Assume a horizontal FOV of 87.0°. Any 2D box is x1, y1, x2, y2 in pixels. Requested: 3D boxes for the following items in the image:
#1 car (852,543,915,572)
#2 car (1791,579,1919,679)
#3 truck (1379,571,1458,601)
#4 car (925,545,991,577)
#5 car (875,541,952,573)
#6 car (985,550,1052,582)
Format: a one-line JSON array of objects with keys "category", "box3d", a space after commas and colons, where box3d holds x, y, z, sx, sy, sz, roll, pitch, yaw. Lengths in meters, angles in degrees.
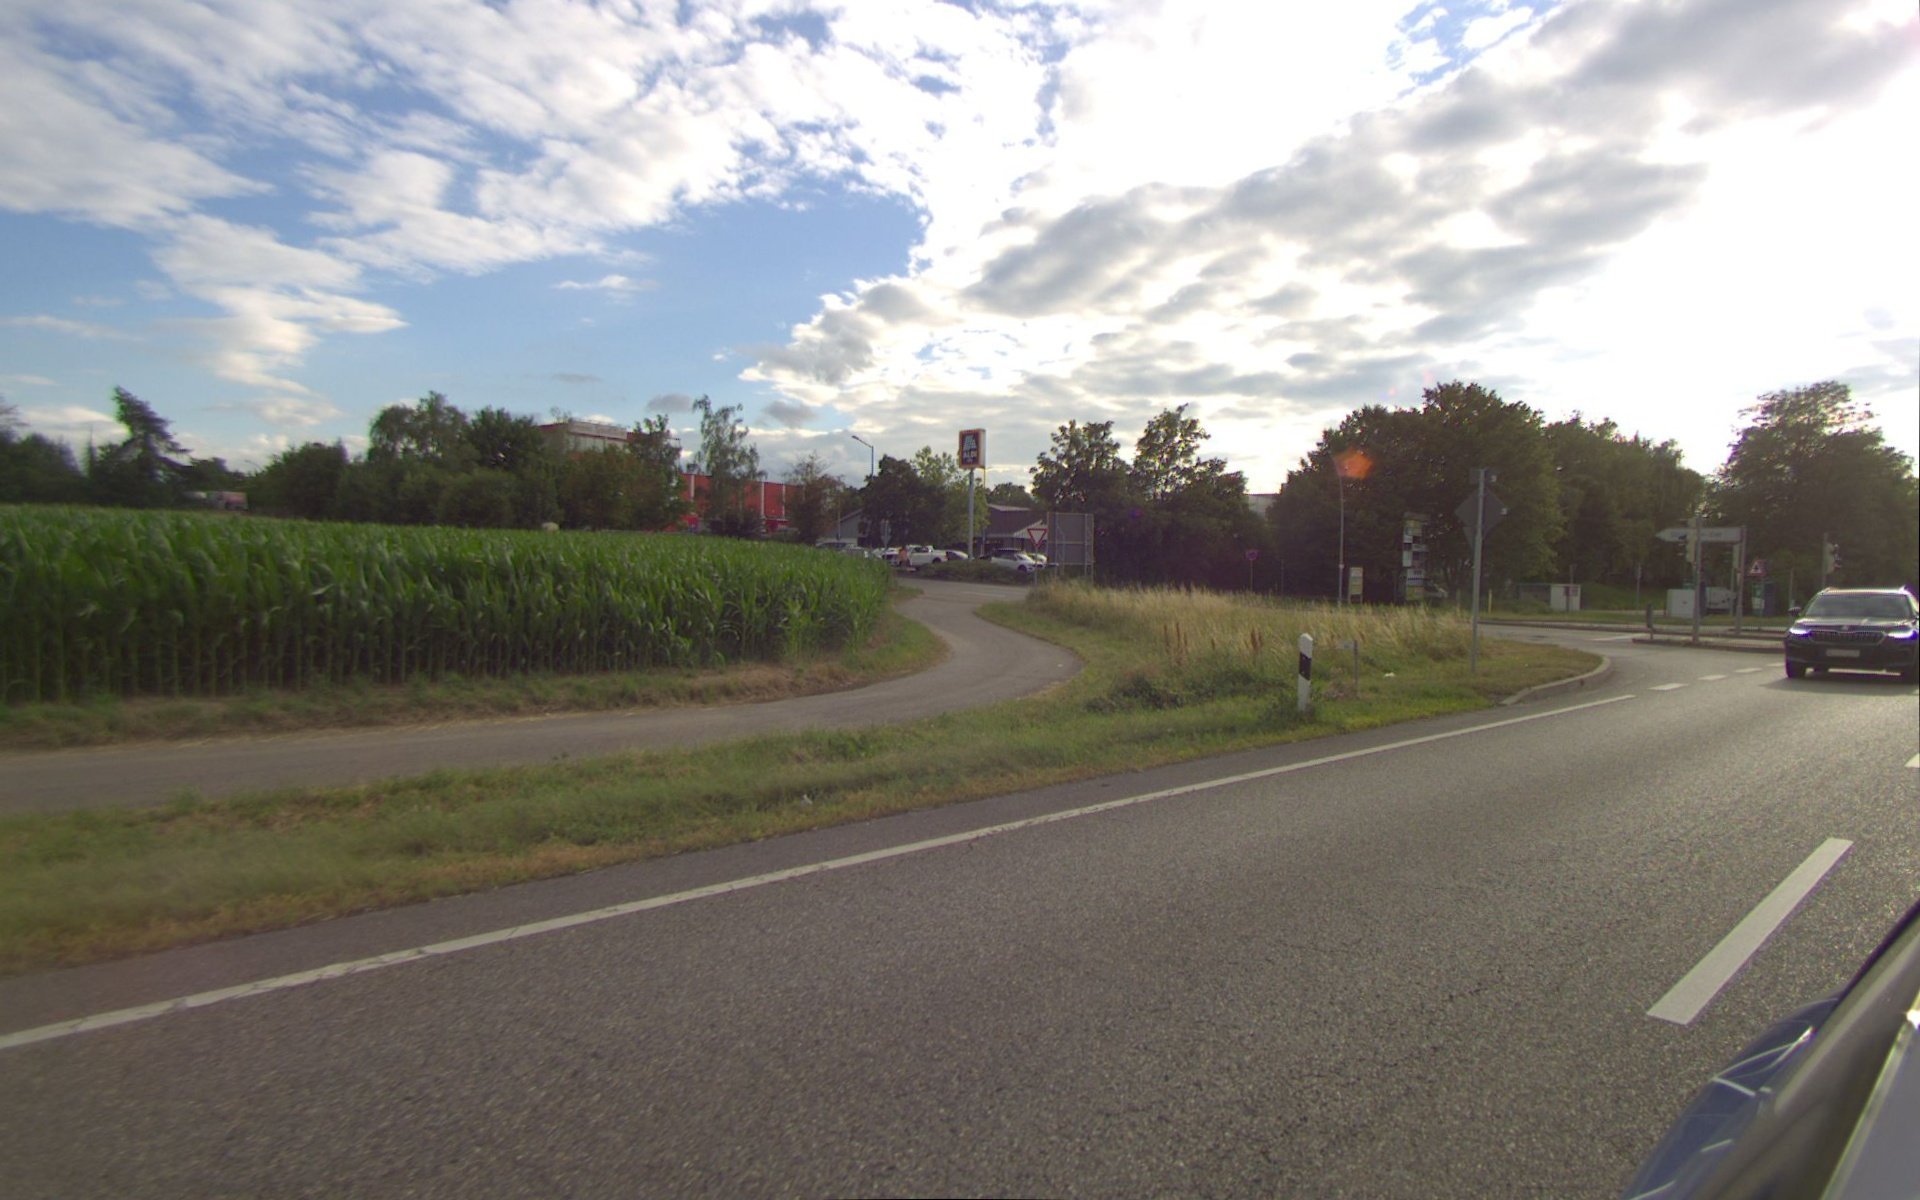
[{"category": "car", "box3d": [-5.399, -2.986, 71.754, 1.954, 1.906, 4.241, 6, 4, 42]}, {"category": "car", "box3d": [17.057, 0.477, 18.847, 4.404, 1.671, 1.847, 0, 0, -42]}, {"category": "truck", "box3d": [31.060, -0.958, 68.709, 4.600, 2.022, 1.816, 1, 0, 14]}, {"category": "car", "box3d": [-0.165, -2.660, 68.249, 1.928, 1.906, 4.298, 0, 4, -43]}, {"category": "car", "box3d": [-3.170, -2.971, 70.224, 1.993, 2.038, 5.531, 4, 4, 41]}, {"category": "car", "box3d": [3.943, -2.319, 68.827, 1.928, 1.906, 4.298, 0, 4, -43]}]
